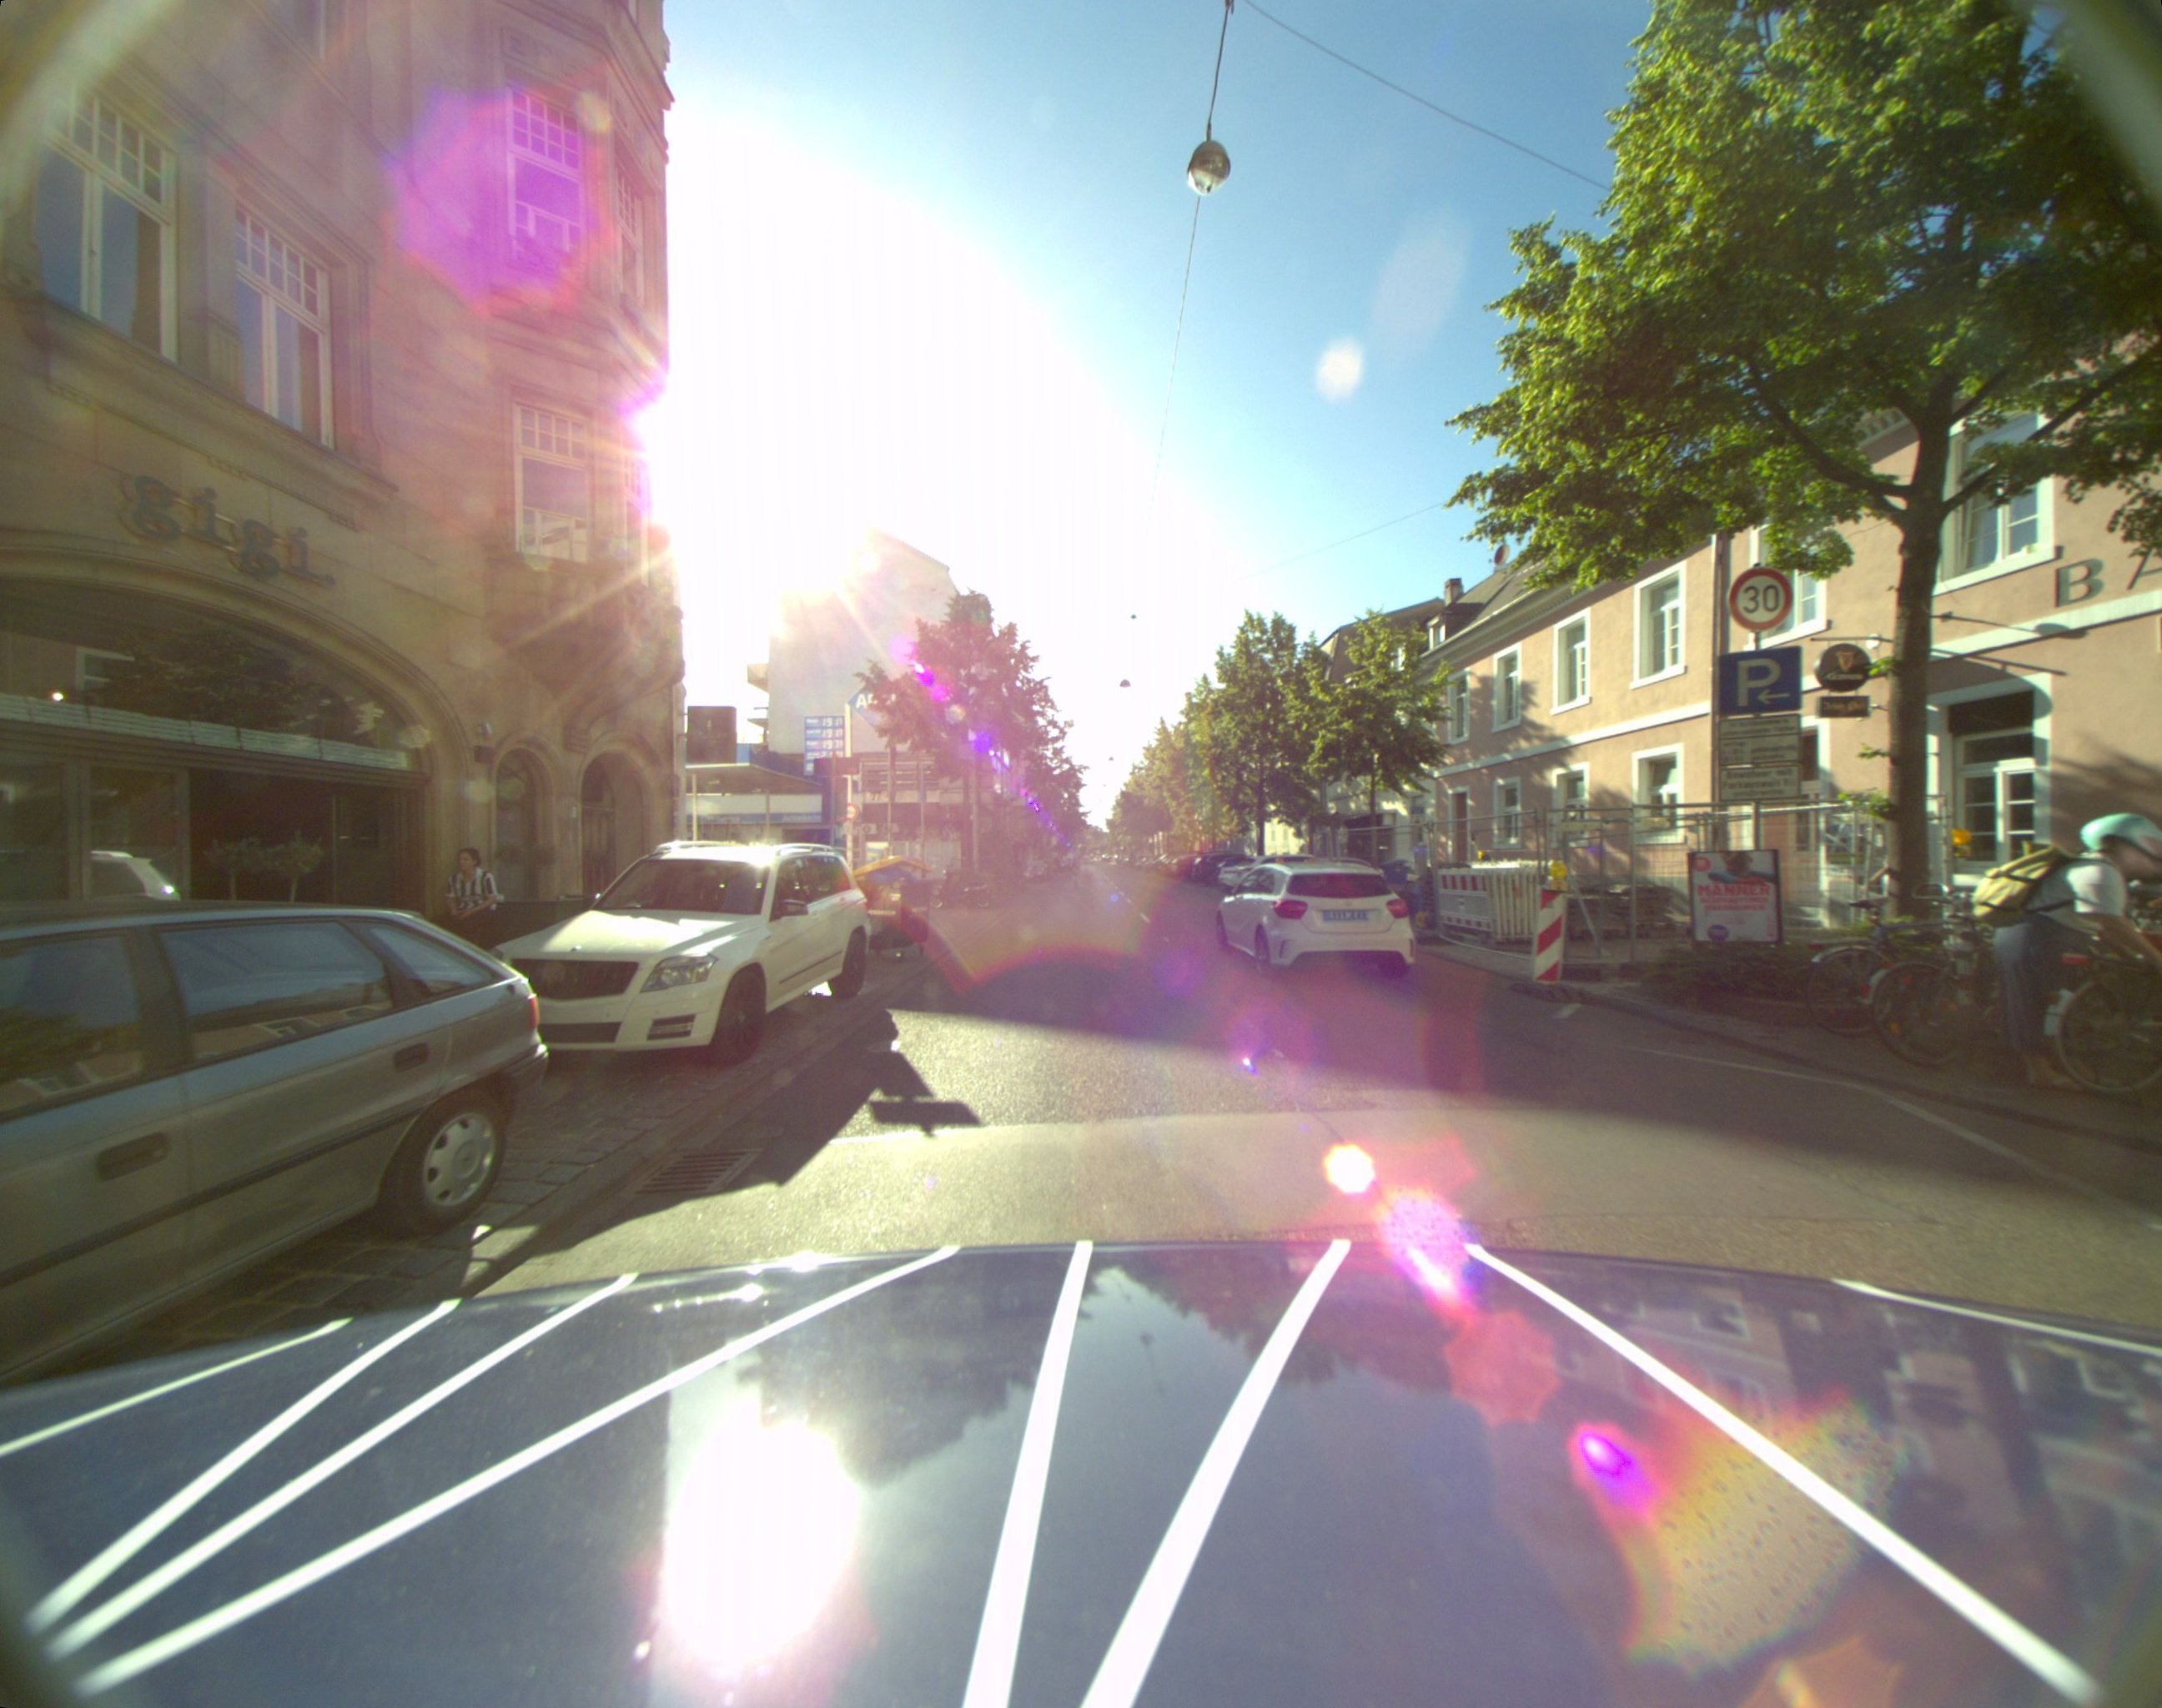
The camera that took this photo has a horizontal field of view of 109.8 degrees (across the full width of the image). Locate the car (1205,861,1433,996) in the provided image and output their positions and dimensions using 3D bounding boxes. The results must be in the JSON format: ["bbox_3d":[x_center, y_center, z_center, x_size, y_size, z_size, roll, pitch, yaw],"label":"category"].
[{"bbox_3d":[3.022,0.857,10.692,1.807,1.426,4.409,0,0,0],"label":"car"}]

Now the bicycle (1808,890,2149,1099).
[{"bbox_3d":[6.214,0.925,5.292,1.860,1.245,0.600,-2,1,-7],"label":"bicycle"}]

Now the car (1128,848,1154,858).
[{"bbox_3d":[10.526,-0.199,133.433,4.349,1.535,1.944,-1,1,3],"label":"car"}]

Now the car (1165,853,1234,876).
[{"bbox_3d":[8.442,0.718,54.474,4.691,1.510,1.808,-1,1,2],"label":"car"}]

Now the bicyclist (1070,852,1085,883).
[{"bbox_3d":[-0.160,0.678,38.342,0.718,1.553,0.864,-1,1,-1],"label":"bicyclist"}]

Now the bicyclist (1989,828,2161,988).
[{"bbox_3d":[10.429,0.522,7.907,0.768,1.551,1.041,-1,1,10],"label":"bicyclist"}]

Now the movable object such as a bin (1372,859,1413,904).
[{"bbox_3d":[8.316,0.716,20.280,0.733,1.179,0.745,0,1,-8],"label":"movable object such as a bin"}]

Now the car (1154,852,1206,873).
[{"bbox_3d":[8.984,0.763,68.926,4.477,1.762,1.916,-1,1,2],"label":"car"}]

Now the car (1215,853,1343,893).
[{"bbox_3d":[7.961,0.734,30.869,4.693,1.456,1.807,-1,1,-2],"label":"car"}]

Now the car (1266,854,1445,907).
[{"bbox_3d":[8.160,0.759,22.831,4.693,1.404,1.807,-1,1,-2],"label":"car"}]

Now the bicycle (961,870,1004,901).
[{"bbox_3d":[-3.374,1.057,26.127,0.435,0.983,1.675,1,1,35],"label":"bicycle"}]

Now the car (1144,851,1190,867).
[{"bbox_3d":[8.832,0.529,78.346,4.477,1.532,1.916,-1,1,0],"label":"car"}]

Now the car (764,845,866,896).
[{"bbox_3d":[-9.097,0.518,26.366,1.905,1.638,4.293,0,0,2],"label":"car"}]

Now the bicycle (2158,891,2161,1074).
[{"bbox_3d":[7.773,0.863,4.349,0.601,1.245,1.789,-2,1,-42],"label":"bicycle"}]

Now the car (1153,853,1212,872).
[{"bbox_3d":[8.278,0.695,62.214,4.657,1.451,1.683,-1,1,0],"label":"car"}]

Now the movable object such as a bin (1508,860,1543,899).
[{"bbox_3d":[12.243,0.696,20.921,0.634,1.054,0.544,0,1,1],"label":"movable object such as a bin"}]

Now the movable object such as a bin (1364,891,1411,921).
[{"bbox_3d":[6.991,1.170,17.371,0.629,0.612,1.077,0,0,0],"label":"movable object such as a bin"}]

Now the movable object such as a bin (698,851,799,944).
[{"bbox_3d":[-6.117,0.762,14.101,1.208,1.618,1.498,0,1,-1],"label":"movable object such as a bin"}]

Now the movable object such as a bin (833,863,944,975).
[{"bbox_3d":[-2.866,0.924,11.496,1.144,1.553,1.460,0,1,9],"label":"movable object such as a bin"}]

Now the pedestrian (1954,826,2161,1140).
[{"bbox_3d":[5.985,0.697,4.615,0.795,1.697,0.765,-2,1,-32],"label":"pedestrian"}]

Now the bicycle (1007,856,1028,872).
[{"bbox_3d":[-4.655,0.740,55.724,0.683,1.142,1.680,-1,1,-41],"label":"bicycle"}]

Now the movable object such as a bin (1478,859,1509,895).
[{"bbox_3d":[12.280,0.688,22.628,0.634,1.054,0.544,0,1,1],"label":"movable object such as a bin"}]

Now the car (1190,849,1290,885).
[{"bbox_3d":[8.046,0.641,38.742,4.691,1.683,1.808,-1,1,2],"label":"car"}]

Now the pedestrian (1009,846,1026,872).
[{"bbox_3d":[-4.706,0.360,56.472,0.925,1.924,0.762,0,1,26],"label":"pedestrian"}]

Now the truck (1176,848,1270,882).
[{"bbox_3d":[8.172,0.603,44.173,5.097,1.927,2.000,0,1,0],"label":"truck"}]

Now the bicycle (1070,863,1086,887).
[{"bbox_3d":[-0.159,1.054,38.384,0.718,1.105,2.269,-1,1,-1],"label":"bicycle"}]

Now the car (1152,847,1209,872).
[{"bbox_3d":[8.600,0.464,65.855,4.691,1.939,1.916,-1,1,2],"label":"car"}]

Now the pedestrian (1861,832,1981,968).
[{"bbox_3d":[10.522,0.552,9.549,0.612,1.643,0.813,0,1,4],"label":"pedestrian"}]

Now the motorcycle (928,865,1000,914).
[{"bbox_3d":[-3.369,1.006,21.840,1.984,1.322,0.911,-1,0,-12],"label":"motorcycle"}]

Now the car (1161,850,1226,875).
[{"bbox_3d":[8.436,0.607,57.270,4.691,1.702,1.808,-1,1,2],"label":"car"}]

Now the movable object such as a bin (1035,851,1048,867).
[{"bbox_3d":[-3.655,0.467,69.704,1.080,1.423,1.295,0,1,1],"label":"movable object such as a bin"}]

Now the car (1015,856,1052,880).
[{"bbox_3d":[-2.902,0.838,47.299,1.905,1.404,4.646,1,0,0],"label":"car"}]

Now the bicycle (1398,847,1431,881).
[{"bbox_3d":[12.431,0.363,28.348,0.505,1.238,1.628,0,1,0],"label":"bicycle"}]

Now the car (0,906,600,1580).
[{"bbox_3d":[-3.463,1.008,1.867,1.827,1.383,4.300,2,0,0],"label":"car"}]

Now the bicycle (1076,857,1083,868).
[{"bbox_3d":[-0.150,0.861,75.205,0.666,1.061,1.836,-1,1,1],"label":"bicycle"}]

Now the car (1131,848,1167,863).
[{"bbox_3d":[8.810,0.185,98.617,4.584,1.915,1.930,-1,1,3],"label":"car"}]

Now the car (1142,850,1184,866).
[{"bbox_3d":[8.904,0.419,82.809,4.350,1.699,1.916,-1,1,0],"label":"car"}]

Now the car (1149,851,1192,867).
[{"bbox_3d":[9.477,0.492,80.616,4.350,1.573,1.809,-1,1,0],"label":"car"}]

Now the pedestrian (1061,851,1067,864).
[{"bbox_3d":[-1.981,0.389,89.327,0.652,1.527,0.980,0,1,-1],"label":"pedestrian"}]

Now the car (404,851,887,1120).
[{"bbox_3d":[-3.394,0.836,7.184,1.826,1.669,4.600,2,0,1],"label":"car"}]

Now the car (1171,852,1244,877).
[{"bbox_3d":[8.577,0.686,51.698,4.691,1.563,1.808,-1,1,2],"label":"car"}]

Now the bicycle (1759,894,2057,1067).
[{"bbox_3d":[6.452,0.947,5.962,1.860,1.163,0.600,-2,1,-7],"label":"bicycle"}]

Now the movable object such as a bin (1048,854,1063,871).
[{"bbox_3d":[-2.340,0.813,69.698,1.334,1.533,1.146,0,1,1],"label":"movable object such as a bin"}]

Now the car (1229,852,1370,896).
[{"bbox_3d":[8.045,0.719,28.203,4.693,1.456,1.807,-1,1,-2],"label":"car"}]

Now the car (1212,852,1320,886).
[{"bbox_3d":[8.714,0.713,36.043,4.691,1.455,1.808,-1,1,2],"label":"car"}]

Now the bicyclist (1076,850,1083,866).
[{"bbox_3d":[-0.163,0.388,75.077,0.658,1.562,0.909,-1,1,1],"label":"bicyclist"}]

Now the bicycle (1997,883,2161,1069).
[{"bbox_3d":[7.963,0.845,5.447,1.790,1.245,0.601,-2,1,12],"label":"bicycle"}]

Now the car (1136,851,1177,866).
[{"bbox_3d":[8.427,0.497,85.303,4.476,1.532,1.917,-1,1,3],"label":"car"}]

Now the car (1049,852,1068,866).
[{"bbox_3d":[-2.350,0.500,80.582,1.826,1.463,4.911,2,0,1],"label":"car"}]

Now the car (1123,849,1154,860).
[{"bbox_3d":[9.102,0.021,120.833,4.713,1.484,1.999,-2,2,-4],"label":"car"}]

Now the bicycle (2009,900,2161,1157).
[{"bbox_3d":[6.414,0.902,4.275,1.860,1.245,0.600,-2,1,-7],"label":"bicycle"}]

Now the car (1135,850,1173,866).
[{"bbox_3d":[8.957,0.445,93.377,4.352,1.823,1.915,-1,1,-5],"label":"car"}]

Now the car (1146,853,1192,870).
[{"bbox_3d":[8.712,0.698,75.595,4.476,1.532,1.917,-1,1,4],"label":"car"}]

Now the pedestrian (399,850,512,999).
[{"bbox_3d":[-6.674,0.721,8.134,0.612,1.531,0.699,0,1,0],"label":"pedestrian"}]

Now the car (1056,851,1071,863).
[{"bbox_3d":[-2.251,0.380,100.005,1.826,1.587,4.841,2,0,1],"label":"car"}]

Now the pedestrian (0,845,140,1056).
[{"bbox_3d":[-8.061,0.708,5.904,0.699,1.557,0.612,0,1,0],"label":"pedestrian"}]

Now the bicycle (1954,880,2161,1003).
[{"bbox_3d":[10.454,0.837,7.893,0.768,1.053,1.957,-1,0,10],"label":"bicycle"}]
